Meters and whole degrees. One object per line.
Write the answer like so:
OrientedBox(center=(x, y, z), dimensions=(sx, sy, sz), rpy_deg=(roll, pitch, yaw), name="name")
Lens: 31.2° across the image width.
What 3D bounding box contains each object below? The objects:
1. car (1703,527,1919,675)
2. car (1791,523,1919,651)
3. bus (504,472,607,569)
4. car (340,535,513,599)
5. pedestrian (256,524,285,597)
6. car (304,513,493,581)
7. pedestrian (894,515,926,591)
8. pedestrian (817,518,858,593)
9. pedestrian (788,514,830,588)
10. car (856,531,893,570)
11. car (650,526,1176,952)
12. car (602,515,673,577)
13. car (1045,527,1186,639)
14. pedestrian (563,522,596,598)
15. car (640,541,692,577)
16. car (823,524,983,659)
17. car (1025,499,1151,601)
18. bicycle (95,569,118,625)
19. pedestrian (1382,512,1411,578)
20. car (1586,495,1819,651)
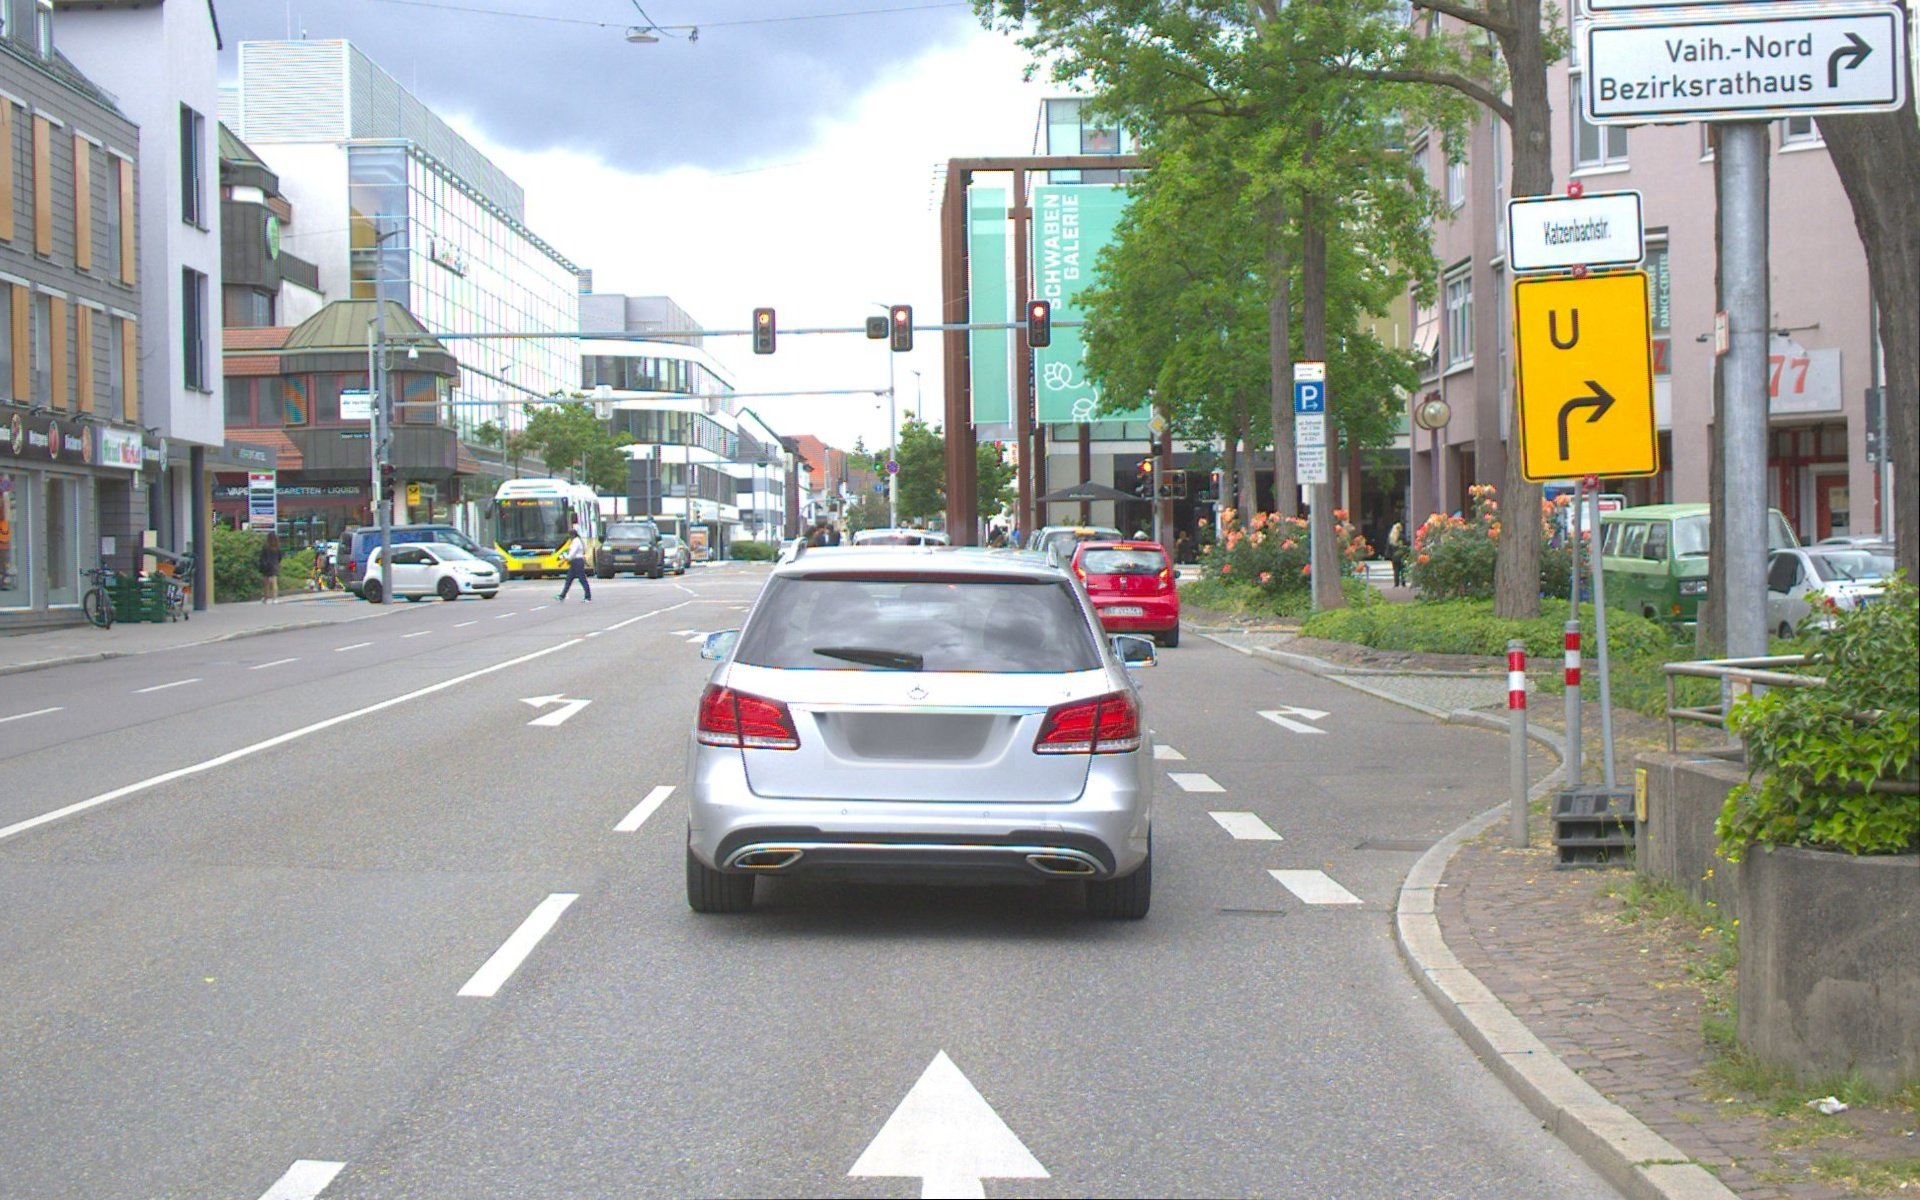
OrientedBox(center=(9.692, -0.030, 38.055), dimensions=(1.866, 1.522, 4.001), rpy_deg=(-1, 1, -3), name="car")
OrientedBox(center=(12.050, -0.207, 43.534), dimensions=(1.866, 1.522, 4.001), rpy_deg=(-1, 1, -3), name="car")
OrientedBox(center=(-13.545, -2.666, 115.478), dimensions=(2.775, 3.154, 5.933), rpy_deg=(-1, 1, 0), name="bus")
OrientedBox(center=(-13.248, -0.824, 85.422), dimensions=(3.992, 1.525, 1.664), rpy_deg=(0, 1, 26), name="car")
OrientedBox(center=(-16.098, -0.925, 80.241), dimensions=(0.586, 1.664, 0.642), rpy_deg=(2, 2, -14), name="pedestrian")
OrientedBox(center=(-15.937, -1.514, 97.651), dimensions=(4.907, 1.816, 2.000), rpy_deg=(-1, 1, -25), name="car")
OrientedBox(center=(-1.100, -1.024, 75.225), dimensions=(0.613, 1.629, 0.588), rpy_deg=(2, 1, -4), name="pedestrian")
OrientedBox(center=(-2.739, -0.990, 76.576), dimensions=(0.833, 1.629, 0.588), rpy_deg=(2, 1, -4), name="pedestrian")
OrientedBox(center=(-3.390, -1.098, 77.101), dimensions=(0.857, 1.629, 0.588), rpy_deg=(2, 1, 1), name="pedestrian")
OrientedBox(center=(-4.647, -2.703, 186.955), dimensions=(1.993, 2.007, 4.000), rpy_deg=(-1, 1, -1), name="car")
OrientedBox(center=(-0.264, 0.473, 14.494), dimensions=(1.874, 1.501, 4.001), rpy_deg=(2, 1, -3), name="car")
OrientedBox(center=(-10.694, -1.800, 114.305), dimensions=(1.993, 2.007, 4.000), rpy_deg=(-1, 1, 0), name="car")
OrientedBox(center=(2.181, -0.281, 49.145), dimensions=(1.754, 1.515, 4.000), rpy_deg=(-1, 1, -1), name="car")
OrientedBox(center=(-8.258, -0.867, 74.632), dimensions=(0.613, 1.629, 0.588), rpy_deg=(2, 1, -9), name="pedestrian")
OrientedBox(center=(-10.567, -1.482, 123.688), dimensions=(1.575, 1.240, 3.607), rpy_deg=(-1, 1, 0), name="car")
OrientedBox(center=(-0.735, -0.153, 45.245), dimensions=(1.993, 1.678, 4.000), rpy_deg=(-1, 1, -1), name="car")
OrientedBox(center=(2.193, -0.881, 59.832), dimensions=(1.993, 1.678, 4.000), rpy_deg=(-1, 1, -1), name="car")
OrientedBox(center=(-14.038, -0.050, 56.531), dimensions=(0.273, 0.888, 1.229), rpy_deg=(-1, 1, -10), name="bicycle")
OrientedBox(center=(10.938, -1.370, 86.138), dimensions=(0.613, 1.629, 0.587), rpy_deg=(2, 1, 12), name="pedestrian")
OrientedBox(center=(9.311, -0.368, 43.405), dimensions=(1.866, 1.858, 4.001), rpy_deg=(-1, 1, -3), name="car")
